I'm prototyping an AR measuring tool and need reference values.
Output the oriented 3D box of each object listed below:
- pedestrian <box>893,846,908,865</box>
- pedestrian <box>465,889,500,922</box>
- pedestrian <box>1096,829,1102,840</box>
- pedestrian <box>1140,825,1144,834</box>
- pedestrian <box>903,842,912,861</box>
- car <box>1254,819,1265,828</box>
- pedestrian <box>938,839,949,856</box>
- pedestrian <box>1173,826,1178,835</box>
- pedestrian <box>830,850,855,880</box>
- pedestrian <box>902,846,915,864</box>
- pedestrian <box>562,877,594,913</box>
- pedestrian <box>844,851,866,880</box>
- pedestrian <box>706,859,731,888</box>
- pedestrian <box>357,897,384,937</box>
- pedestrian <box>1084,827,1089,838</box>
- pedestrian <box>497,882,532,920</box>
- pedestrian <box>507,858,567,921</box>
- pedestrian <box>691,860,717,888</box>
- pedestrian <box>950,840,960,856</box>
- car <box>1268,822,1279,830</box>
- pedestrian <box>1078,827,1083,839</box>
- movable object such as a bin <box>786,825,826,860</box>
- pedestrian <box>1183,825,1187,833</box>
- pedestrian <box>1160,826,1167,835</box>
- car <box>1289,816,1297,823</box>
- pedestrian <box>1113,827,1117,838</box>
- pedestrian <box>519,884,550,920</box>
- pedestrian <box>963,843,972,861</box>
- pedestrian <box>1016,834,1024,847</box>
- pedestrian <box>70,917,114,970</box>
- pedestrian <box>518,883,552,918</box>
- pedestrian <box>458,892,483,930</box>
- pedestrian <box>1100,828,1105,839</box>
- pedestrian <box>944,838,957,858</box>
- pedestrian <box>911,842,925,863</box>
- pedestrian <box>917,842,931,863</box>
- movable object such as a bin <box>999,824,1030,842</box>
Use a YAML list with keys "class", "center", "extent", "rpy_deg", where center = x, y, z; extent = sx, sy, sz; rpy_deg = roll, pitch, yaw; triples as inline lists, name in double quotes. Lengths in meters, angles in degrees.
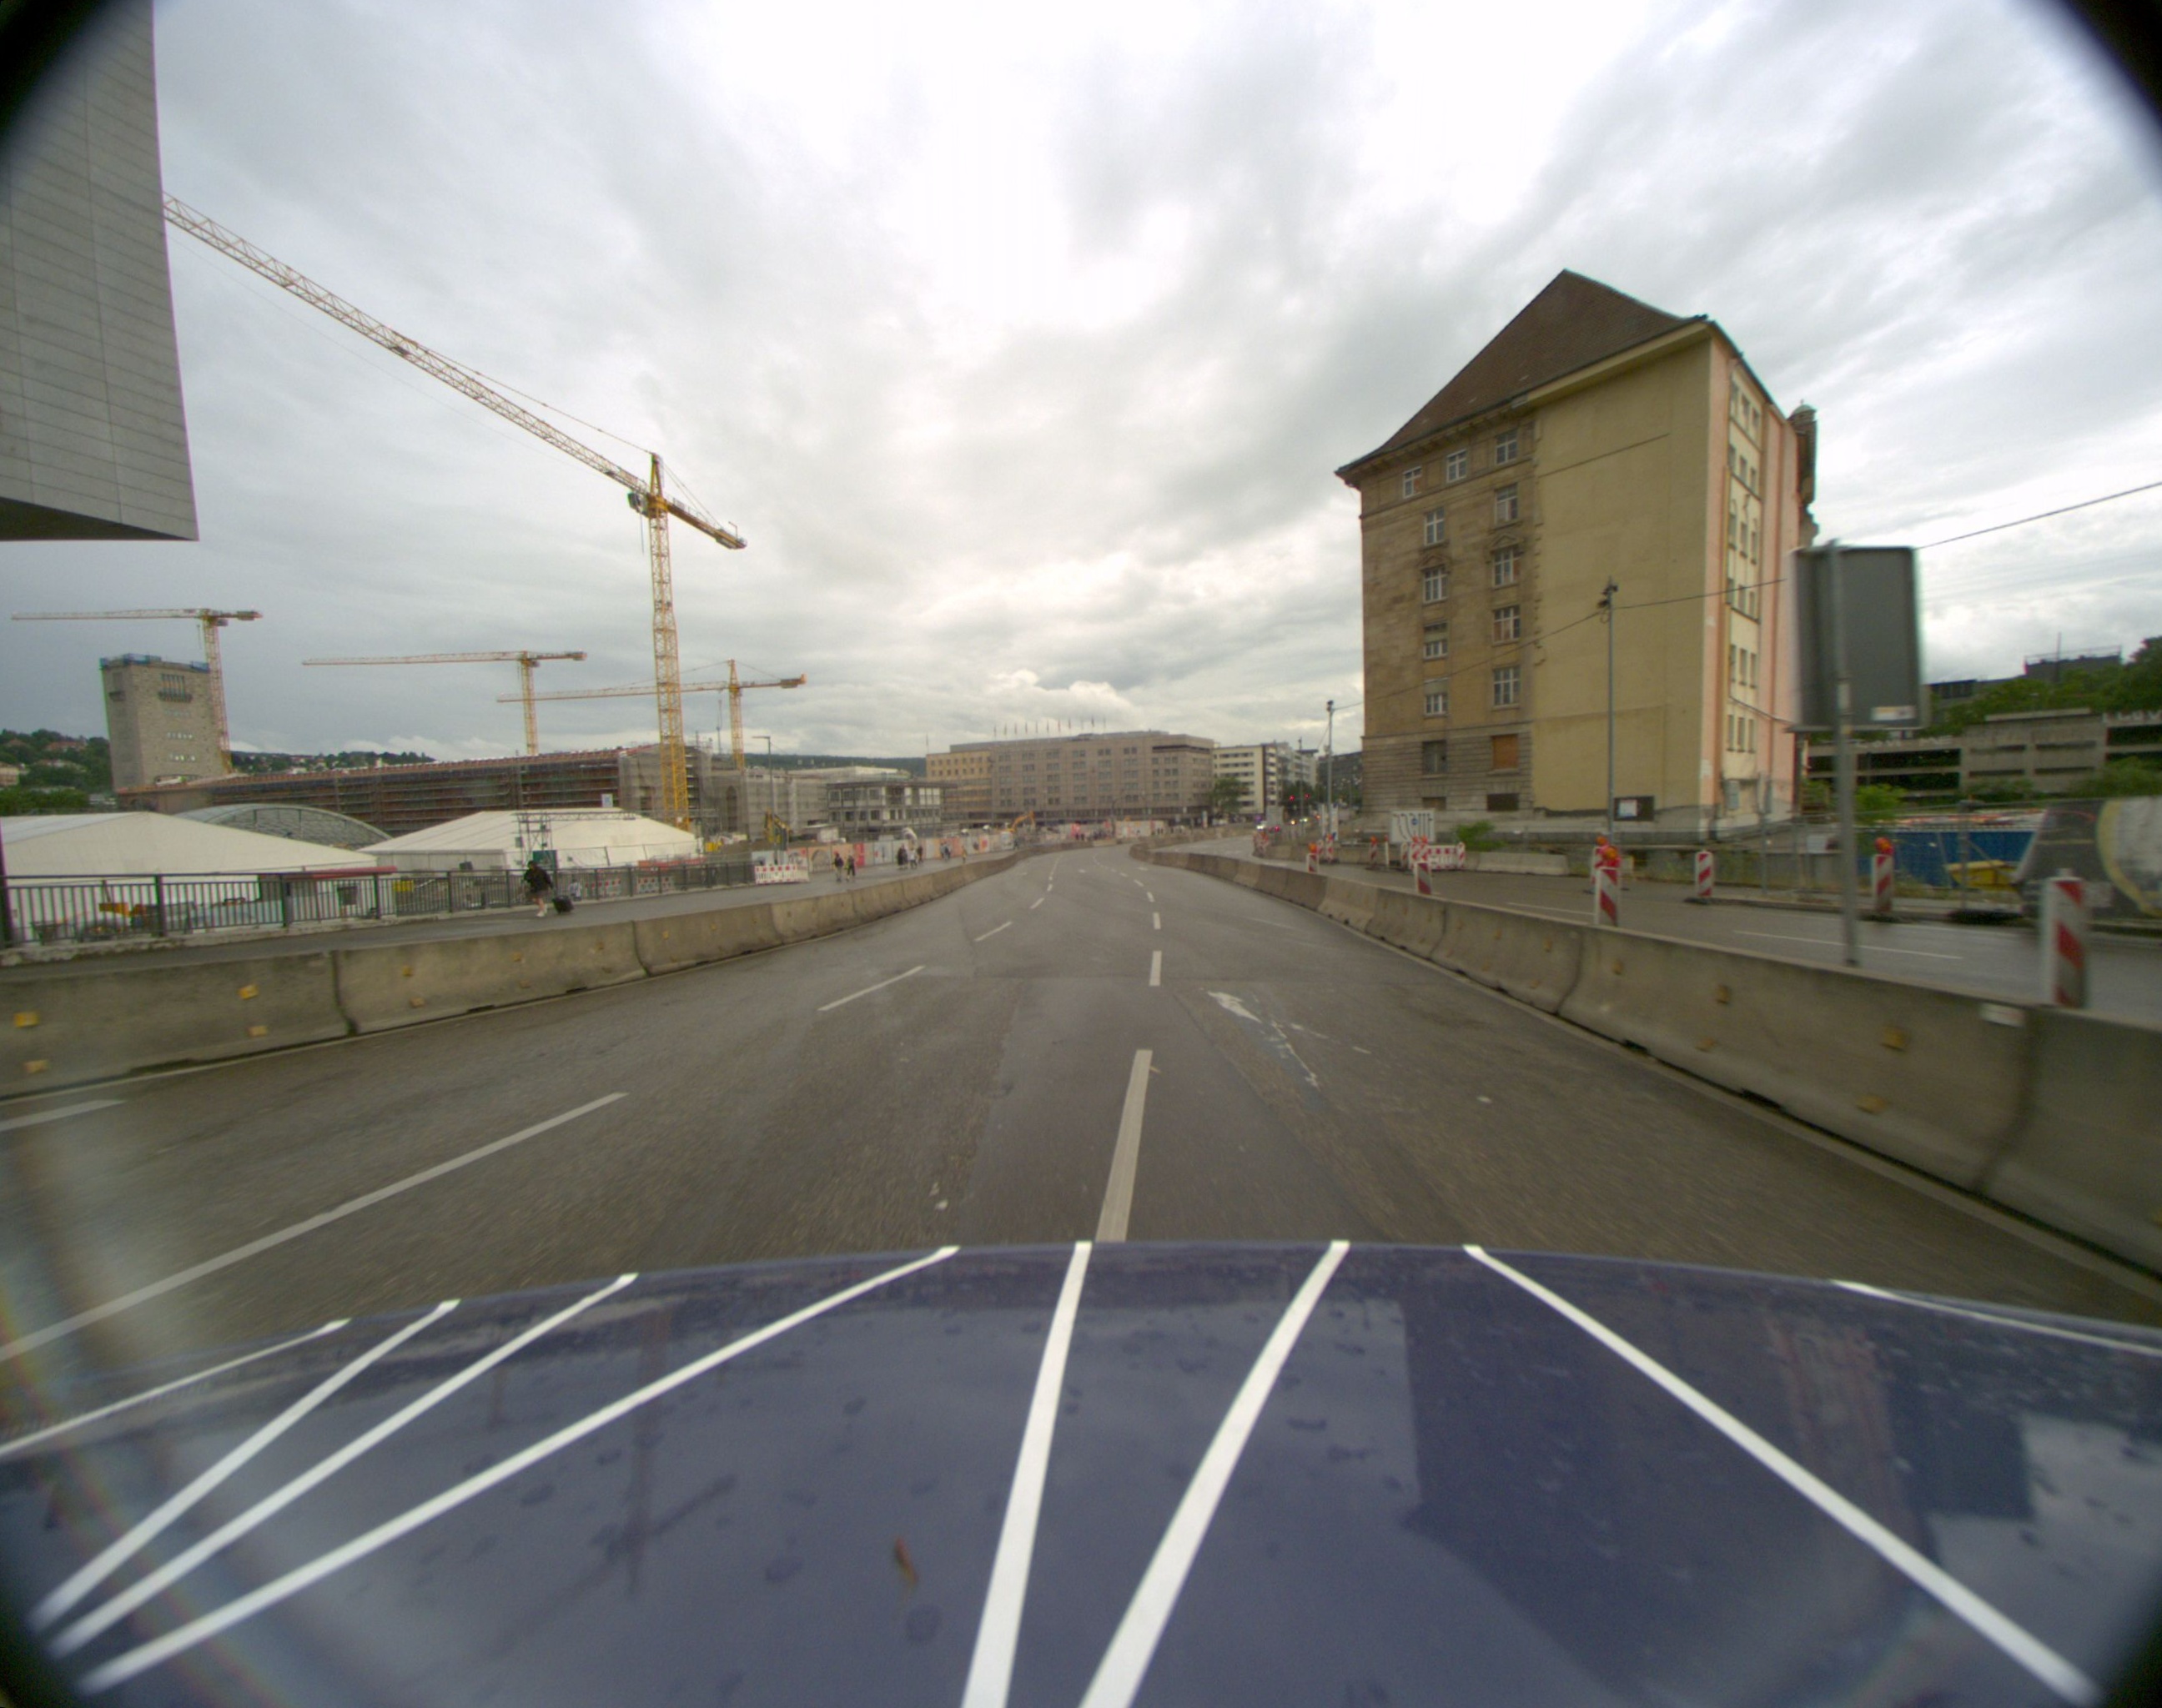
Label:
- class: "pedestrian"
  center: [-15.030, 0.112, 63.232]
  extent: [0.715, 1.545, 1.009]
  rpy_deg: [-1, 3, 18]
- class: "pedestrian"
  center: [-30.374, 2.608, 38.575]
  extent: [0.866, 1.545, 1.009]
  rpy_deg: [0, 4, 28]
- class: "pedestrian"
  center: [2.790, -2.977, 115.381]
  extent: [0.654, 1.682, 0.776]
  rpy_deg: [1, 4, 23]
- class: "pedestrian"
  center: [10.887, -4.370, 135.833]
  extent: [0.648, 1.660, 0.766]
  rpy_deg: [0, 4, 10]
- class: "pedestrian"
  center: [-16.410, -0.234, 71.898]
  extent: [0.567, 1.739, 0.495]
  rpy_deg: [-1, 4, 17]
- class: "car"
  center: [42.994, -7.351, 183.432]
  extent: [1.995, 2.002, 4.006]
  rpy_deg: [0, 1, 22]
- class: "pedestrian"
  center: [-13.793, -0.673, 76.406]
  extent: [0.647, 1.646, 0.767]
  rpy_deg: [1, 4, 35]
- class: "pedestrian"
  center: [18.851, -4.719, 151.555]
  extent: [0.756, 1.752, 0.766]
  rpy_deg: [0, 4, 10]
- class: "pedestrian"
  center: [-13.452, 0.621, 42.945]
  extent: [0.861, 1.585, 0.953]
  rpy_deg: [0, 4, 26]
- class: "pedestrian"
  center: [-14.326, 0.076, 63.202]
  extent: [0.609, 1.514, 0.886]
  rpy_deg: [-1, 3, 18]
- class: "pedestrian"
  center: [-26.097, 2.108, 39.414]
  extent: [0.866, 1.772, 1.009]
  rpy_deg: [0, 4, 28]
- class: "pedestrian"
  center: [-12.689, 0.627, 42.656]
  extent: [0.732, 1.566, 0.806]
  rpy_deg: [-1, 3, 26]
- class: "pedestrian"
  center: [-22.635, 1.215, 47.477]
  extent: [0.866, 1.716, 1.009]
  rpy_deg: [0, 4, 28]
- class: "pedestrian"
  center: [-29.786, 2.627, 31.851]
  extent: [0.704, 1.607, 0.567]
  rpy_deg: [0, 4, 32]
- class: "pedestrian"
  center: [0.806, -3.136, 112.518]
  extent: [0.648, 1.637, 0.948]
  rpy_deg: [1, 4, 12]
- class: "pedestrian"
  center: [-27.902, 2.308, 37.436]
  extent: [0.771, 1.774, 1.009]
  rpy_deg: [0, 4, 28]
- class: "pedestrian"
  center: [-14.995, 0.964, 20.961]
  extent: [0.730, 1.643, 1.062]
  rpy_deg: [-1, 3, 26]
- class: "pedestrian"
  center: [-23.724, 1.271, 47.824]
  extent: [0.866, 1.680, 1.009]
  rpy_deg: [0, 4, 28]
- class: "pedestrian"
  center: [-12.677, -0.598, 76.406]
  extent: [0.647, 1.545, 0.767]
  rpy_deg: [1, 4, 35]
- class: "car"
  center: [37.881, -5.563, 149.358]
  extent: [1.768, 1.513, 4.390]
  rpy_deg: [-1, 3, 19]
- class: "pedestrian"
  center: [-0.108, -3.150, 112.508]
  extent: [0.648, 1.734, 0.766]
  rpy_deg: [1, 4, 12]
- class: "movable object such as a bin"
  center: [-27.697, -1.198, 76.666]
  extent: [1.941, 3.391, 4.230]
  rpy_deg: [-1, 3, 6]
- class: "pedestrian"
  center: [21.698, -5.215, 158.449]
  extent: [0.653, 1.752, 0.548]
  rpy_deg: [0, 4, 10]
- class: "pedestrian"
  center: [16.256, -4.564, 149.834]
  extent: [1.097, 1.752, 0.907]
  rpy_deg: [2, 4, 26]
- class: "car"
  center: [61.992, -10.158, 222.297]
  extent: [1.995, 1.839, 4.004]
  rpy_deg: [-1, 3, 21]
- class: "pedestrian"
  center: [5.618, -3.523, 124.976]
  extent: [0.648, 1.752, 0.583]
  rpy_deg: [0, 4, 10]
- class: "pedestrian"
  center: [-26.760, 2.345, 37.208]
  extent: [0.698, 1.628, 0.917]
  rpy_deg: [0, 4, 28]
- class: "pedestrian"
  center: [-10.408, -0.205, 69.673]
  extent: [0.648, 1.624, 0.907]
  rpy_deg: [-2, 3, -1]
- class: "pedestrian"
  center: [-7.552, -1.671, 93.855]
  extent: [0.746, 1.697, 0.687]
  rpy_deg: [1, 4, 13]
- class: "pedestrian"
  center: [-36.308, 3.266, 27.896]
  extent: [0.642, 1.806, 0.754]
  rpy_deg: [-4, 4, -32]
- class: "pedestrian"
  center: [-27.870, 2.356, 38.780]
  extent: [0.866, 1.628, 1.009]
  rpy_deg: [0, 4, 28]
- class: "pedestrian"
  center: [-27.829, 2.578, 34.655]
  extent: [0.753, 1.628, 0.586]
  rpy_deg: [-5, 5, -43]
- class: "pedestrian"
  center: [3.368, -3.280, 118.834]
  extent: [0.654, 1.682, 0.776]
  rpy_deg: [1, 4, 23]
- class: "pedestrian"
  center: [-12.775, -0.602, 74.313]
  extent: [0.818, 1.839, 0.933]
  rpy_deg: [1, 4, 35]
- class: "pedestrian"
  center: [-13.634, -0.097, 63.542]
  extent: [0.778, 1.713, 0.892]
  rpy_deg: [-1, 3, 18]
- class: "pedestrian"
  center: [-14.339, -0.161, 69.432]
  extent: [0.867, 1.808, 1.009]
  rpy_deg: [-1, 3, 18]
- class: "movable object such as a bin"
  center: [-9.842, -3.074, 112.911]
  extent: [4.135, 2.522, 1.994]
  rpy_deg: [-4, 4, -36]
